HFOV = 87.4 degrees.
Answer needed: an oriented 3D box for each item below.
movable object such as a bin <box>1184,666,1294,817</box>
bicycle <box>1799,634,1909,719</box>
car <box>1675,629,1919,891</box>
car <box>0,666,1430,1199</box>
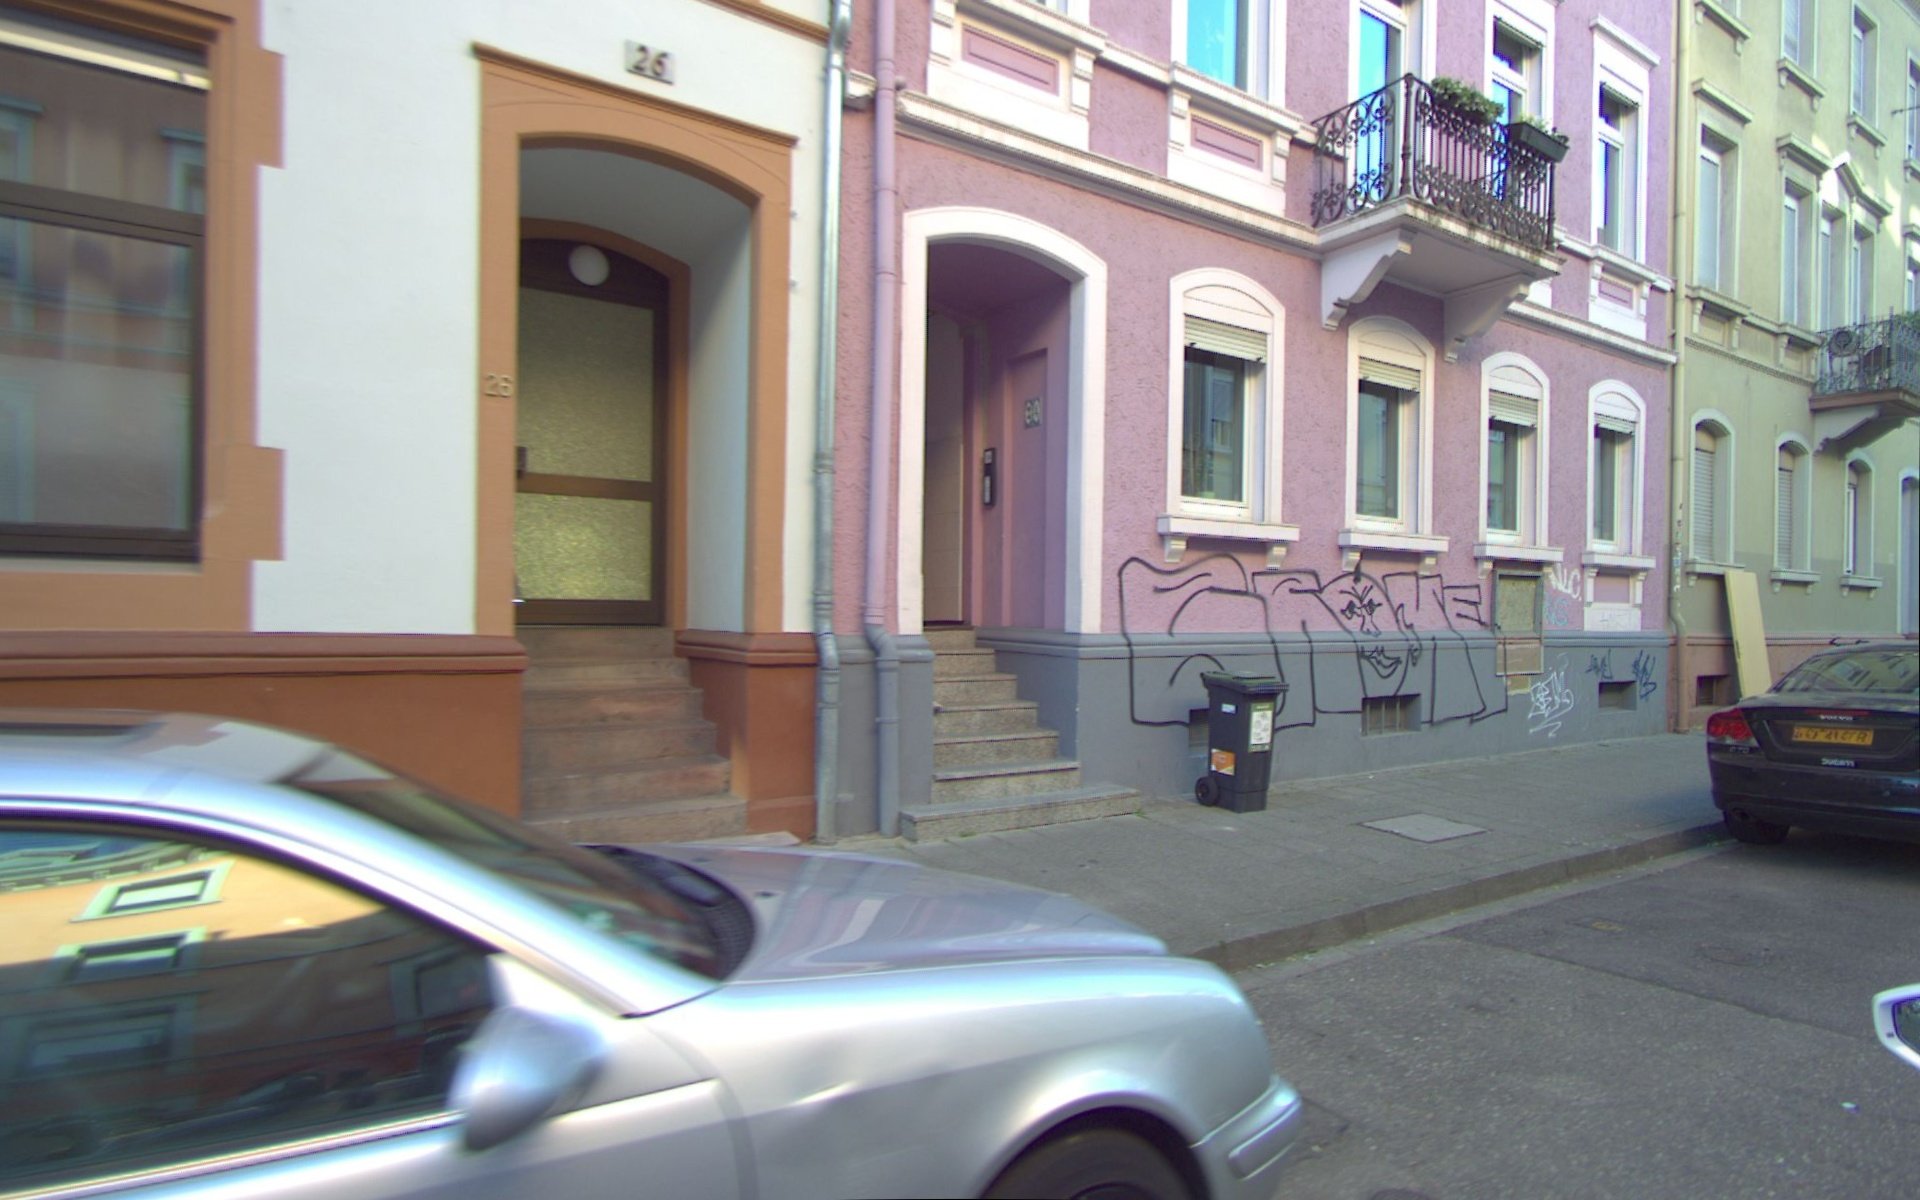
[{"bbox_3d":[1.949,0.964,7.030,0.482,0.957,0.541,1,0,-31],"label":"movable object such as a bin"},{"bbox_3d":[12.585,1.051,14.119,2.056,1.103,0.589,2,0,-33],"label":"bicycle"},{"bbox_3d":[6.989,0.920,6.962,4.304,1.401,1.703,0,-2,-31],"label":"car"},{"bbox_3d":[-1.341,0.846,1.606,4.457,1.401,1.701,2,-3,-33],"label":"car"}]
